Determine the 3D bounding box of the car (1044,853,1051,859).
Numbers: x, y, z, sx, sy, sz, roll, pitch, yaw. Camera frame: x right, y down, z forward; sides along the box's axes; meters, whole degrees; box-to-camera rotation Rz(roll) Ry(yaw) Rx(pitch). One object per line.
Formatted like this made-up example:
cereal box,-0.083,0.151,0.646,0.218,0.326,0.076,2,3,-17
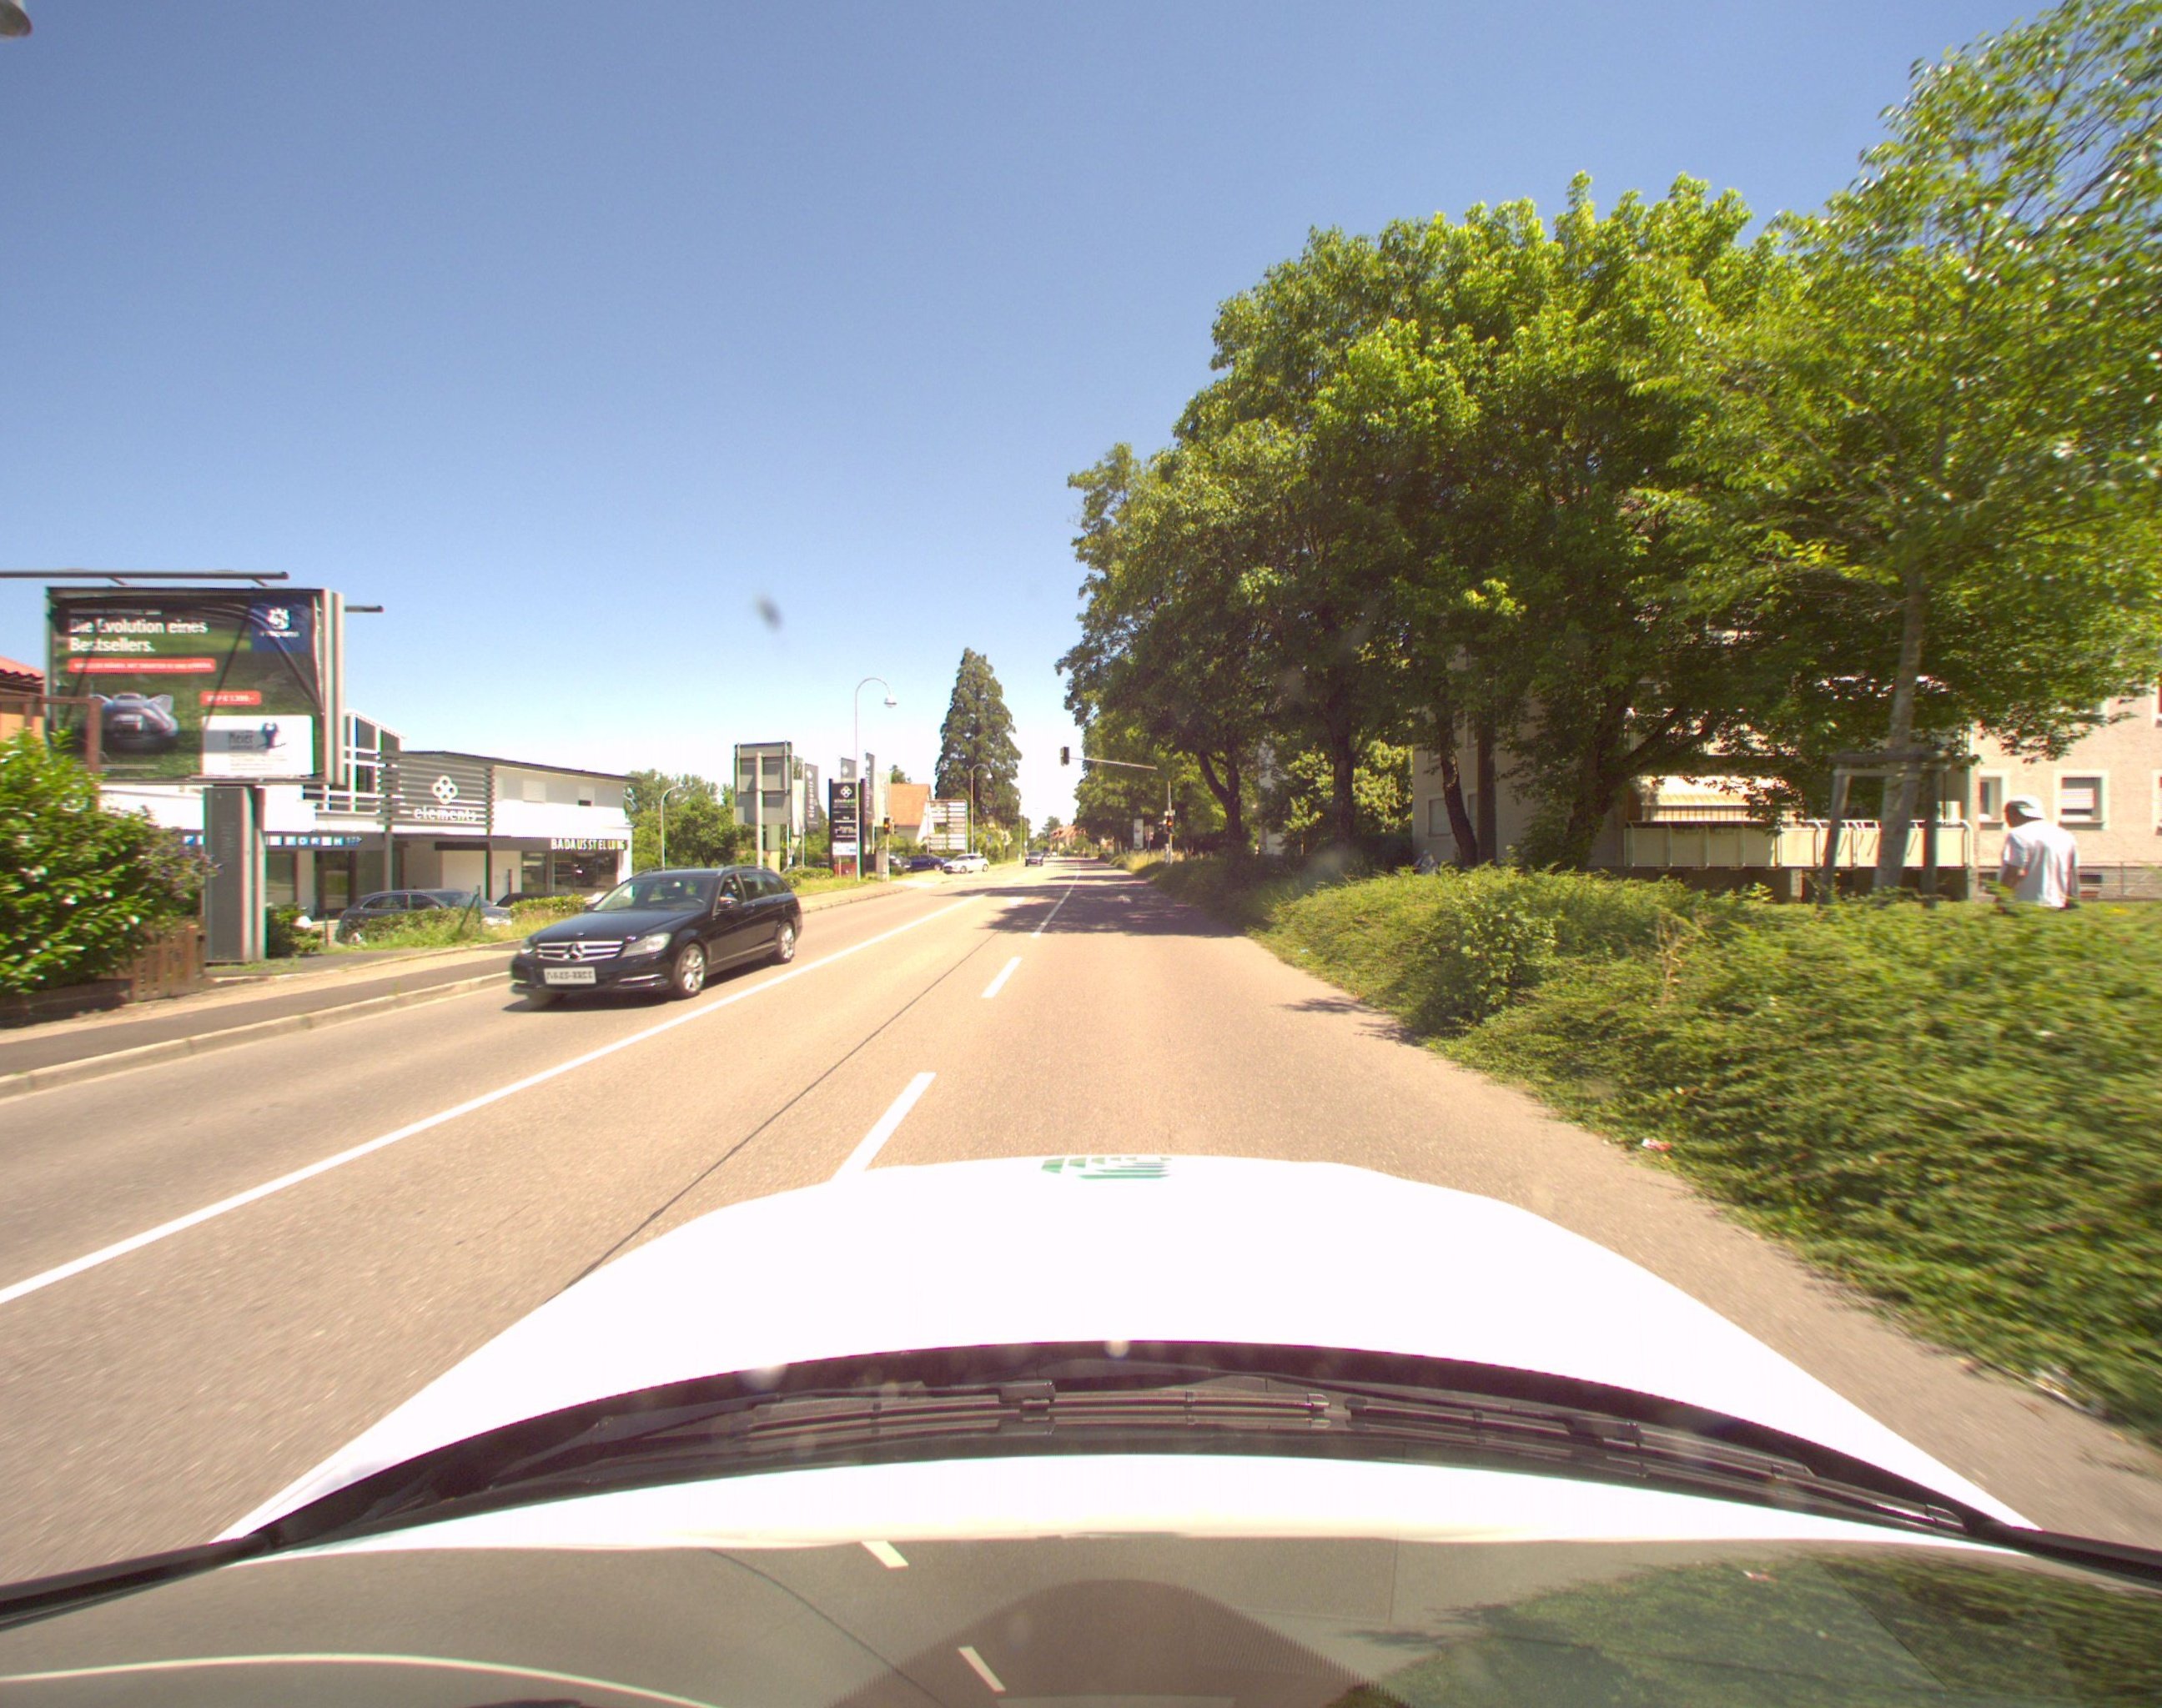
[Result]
car,-7.841,0.453,189.922,1.425,1.322,3.356,0,0,2

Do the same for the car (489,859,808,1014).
car,-5.124,0.854,10.432,1.704,1.495,4.279,0,1,1

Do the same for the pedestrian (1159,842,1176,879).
pedestrian,4.141,0.285,38.923,0.563,1.751,0.610,0,-1,-25

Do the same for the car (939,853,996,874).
car,-8.741,0.728,63.117,1.974,1.487,4.337,-1,0,35

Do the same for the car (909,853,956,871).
car,-12.186,0.644,66.890,3.470,1.427,1.605,0,0,9

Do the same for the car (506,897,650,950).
car,-15.374,2.109,24.980,3.321,1.423,1.783,-1,0,6

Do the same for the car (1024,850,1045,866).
car,-4.903,0.416,86.416,1.872,1.717,4.311,-1,0,1

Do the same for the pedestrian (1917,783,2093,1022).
pedestrian,7.754,0.393,6.867,0.700,1.914,0.661,-1,0,5

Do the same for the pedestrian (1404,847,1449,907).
pedestrian,7.879,0.506,18.616,0.659,1.335,0.889,0,-1,2

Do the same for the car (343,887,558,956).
car,-16.734,1.759,21.754,4.313,1.686,1.897,0,0,3
